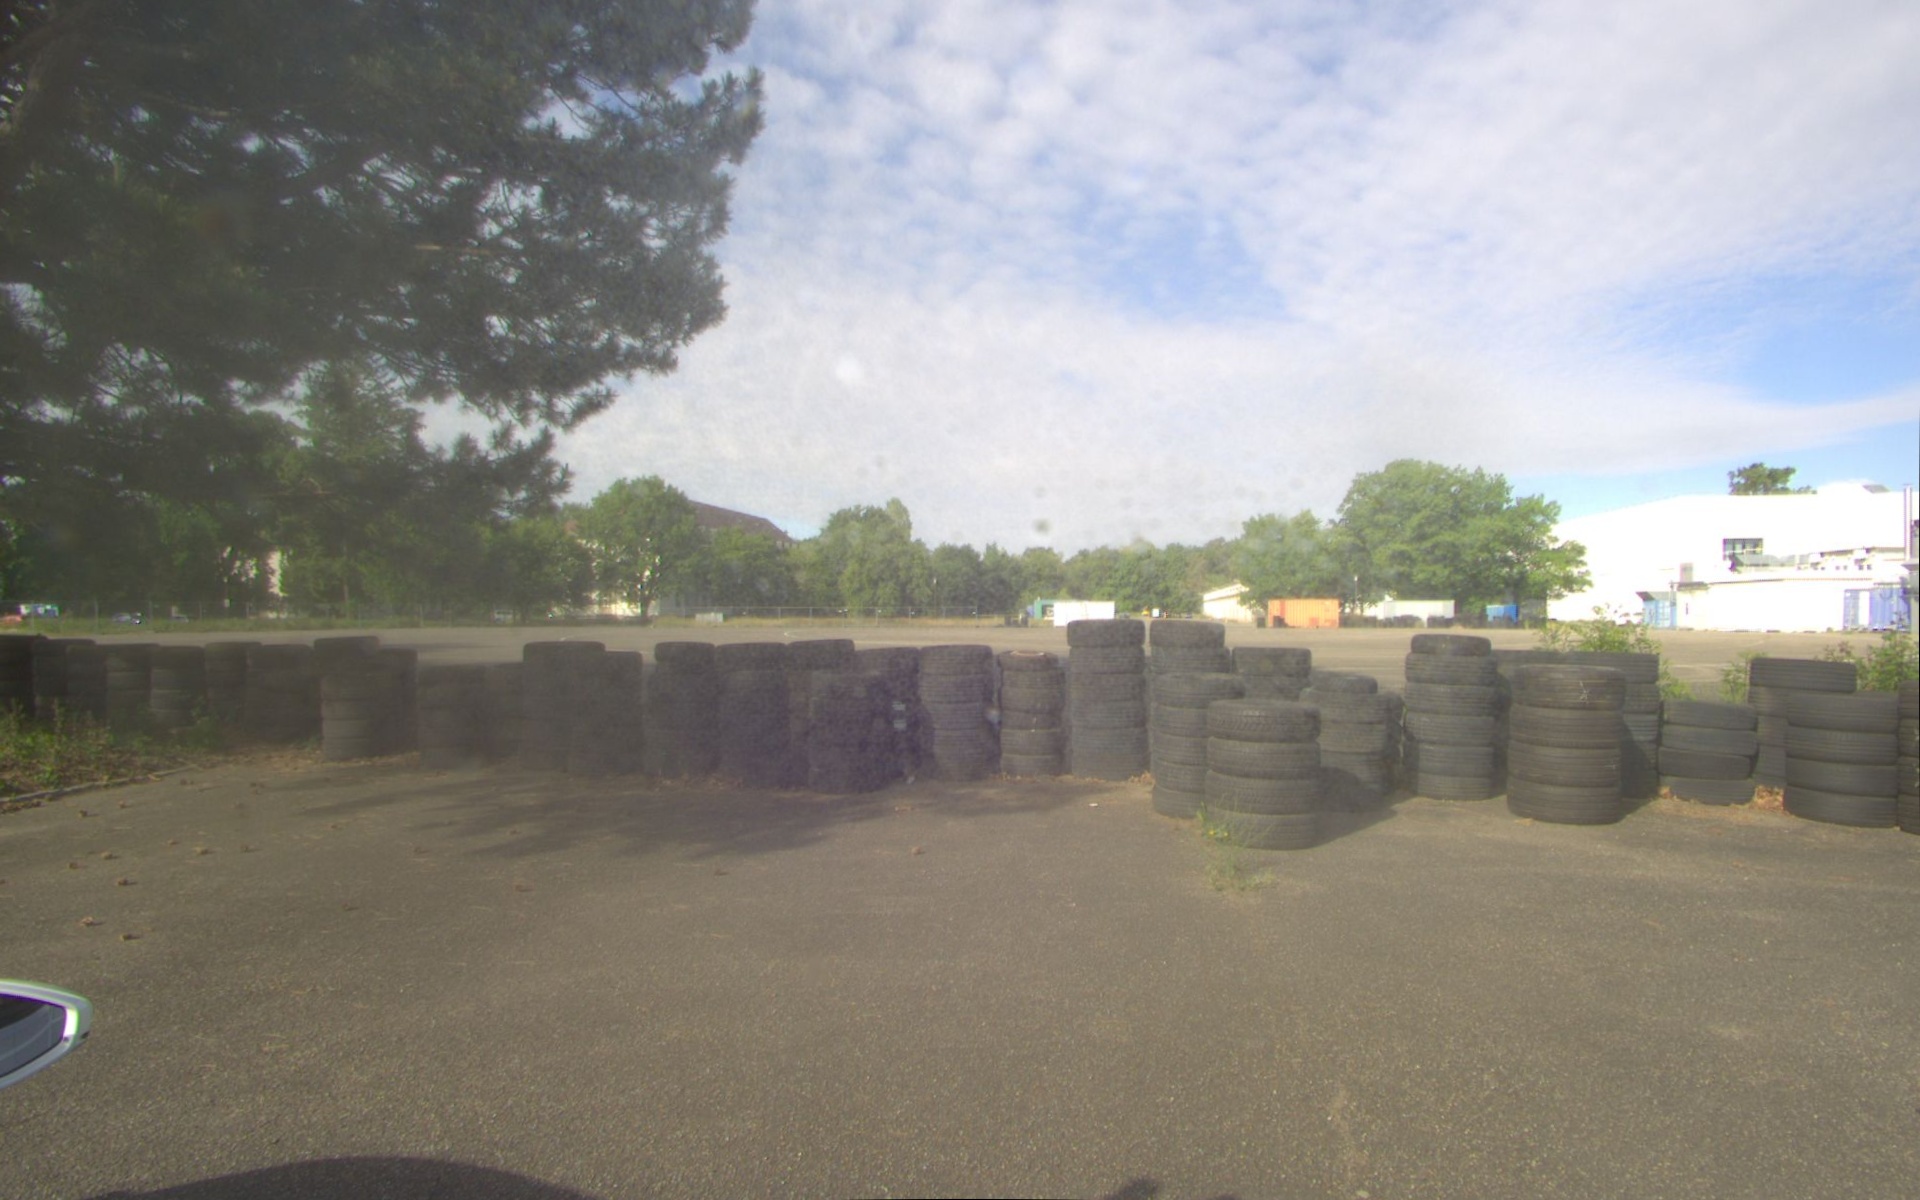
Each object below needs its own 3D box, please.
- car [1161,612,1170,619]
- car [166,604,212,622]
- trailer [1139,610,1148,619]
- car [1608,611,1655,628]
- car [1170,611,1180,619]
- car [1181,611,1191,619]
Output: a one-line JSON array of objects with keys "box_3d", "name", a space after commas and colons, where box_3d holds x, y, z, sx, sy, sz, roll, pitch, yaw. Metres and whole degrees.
[{"box_3d": [49.725, 3.685, 242.107, 1.961, 1.773, 3.999, 0, 0, 7], "name": "car"}, {"box_3d": [-79.078, 1.347, 102.654, 3.931, 1.773, 1.996, 0, 0, 21], "name": "car"}, {"box_3d": [45.071, 3.534, 245.982, 1.962, 2.040, 3.999, 0, 0, 8], "name": "trailer"}, {"box_3d": [61.601, 1.769, 91.951, 1.839, 1.585, 4.546, 0, 0, 8], "name": "car"}, {"box_3d": [51.955, 3.657, 241.890, 1.999, 1.832, 3.999, 0, 0, 7], "name": "car"}, {"box_3d": [54.414, 3.560, 241.443, 1.961, 1.773, 3.999, 0, 0, 7], "name": "car"}]
